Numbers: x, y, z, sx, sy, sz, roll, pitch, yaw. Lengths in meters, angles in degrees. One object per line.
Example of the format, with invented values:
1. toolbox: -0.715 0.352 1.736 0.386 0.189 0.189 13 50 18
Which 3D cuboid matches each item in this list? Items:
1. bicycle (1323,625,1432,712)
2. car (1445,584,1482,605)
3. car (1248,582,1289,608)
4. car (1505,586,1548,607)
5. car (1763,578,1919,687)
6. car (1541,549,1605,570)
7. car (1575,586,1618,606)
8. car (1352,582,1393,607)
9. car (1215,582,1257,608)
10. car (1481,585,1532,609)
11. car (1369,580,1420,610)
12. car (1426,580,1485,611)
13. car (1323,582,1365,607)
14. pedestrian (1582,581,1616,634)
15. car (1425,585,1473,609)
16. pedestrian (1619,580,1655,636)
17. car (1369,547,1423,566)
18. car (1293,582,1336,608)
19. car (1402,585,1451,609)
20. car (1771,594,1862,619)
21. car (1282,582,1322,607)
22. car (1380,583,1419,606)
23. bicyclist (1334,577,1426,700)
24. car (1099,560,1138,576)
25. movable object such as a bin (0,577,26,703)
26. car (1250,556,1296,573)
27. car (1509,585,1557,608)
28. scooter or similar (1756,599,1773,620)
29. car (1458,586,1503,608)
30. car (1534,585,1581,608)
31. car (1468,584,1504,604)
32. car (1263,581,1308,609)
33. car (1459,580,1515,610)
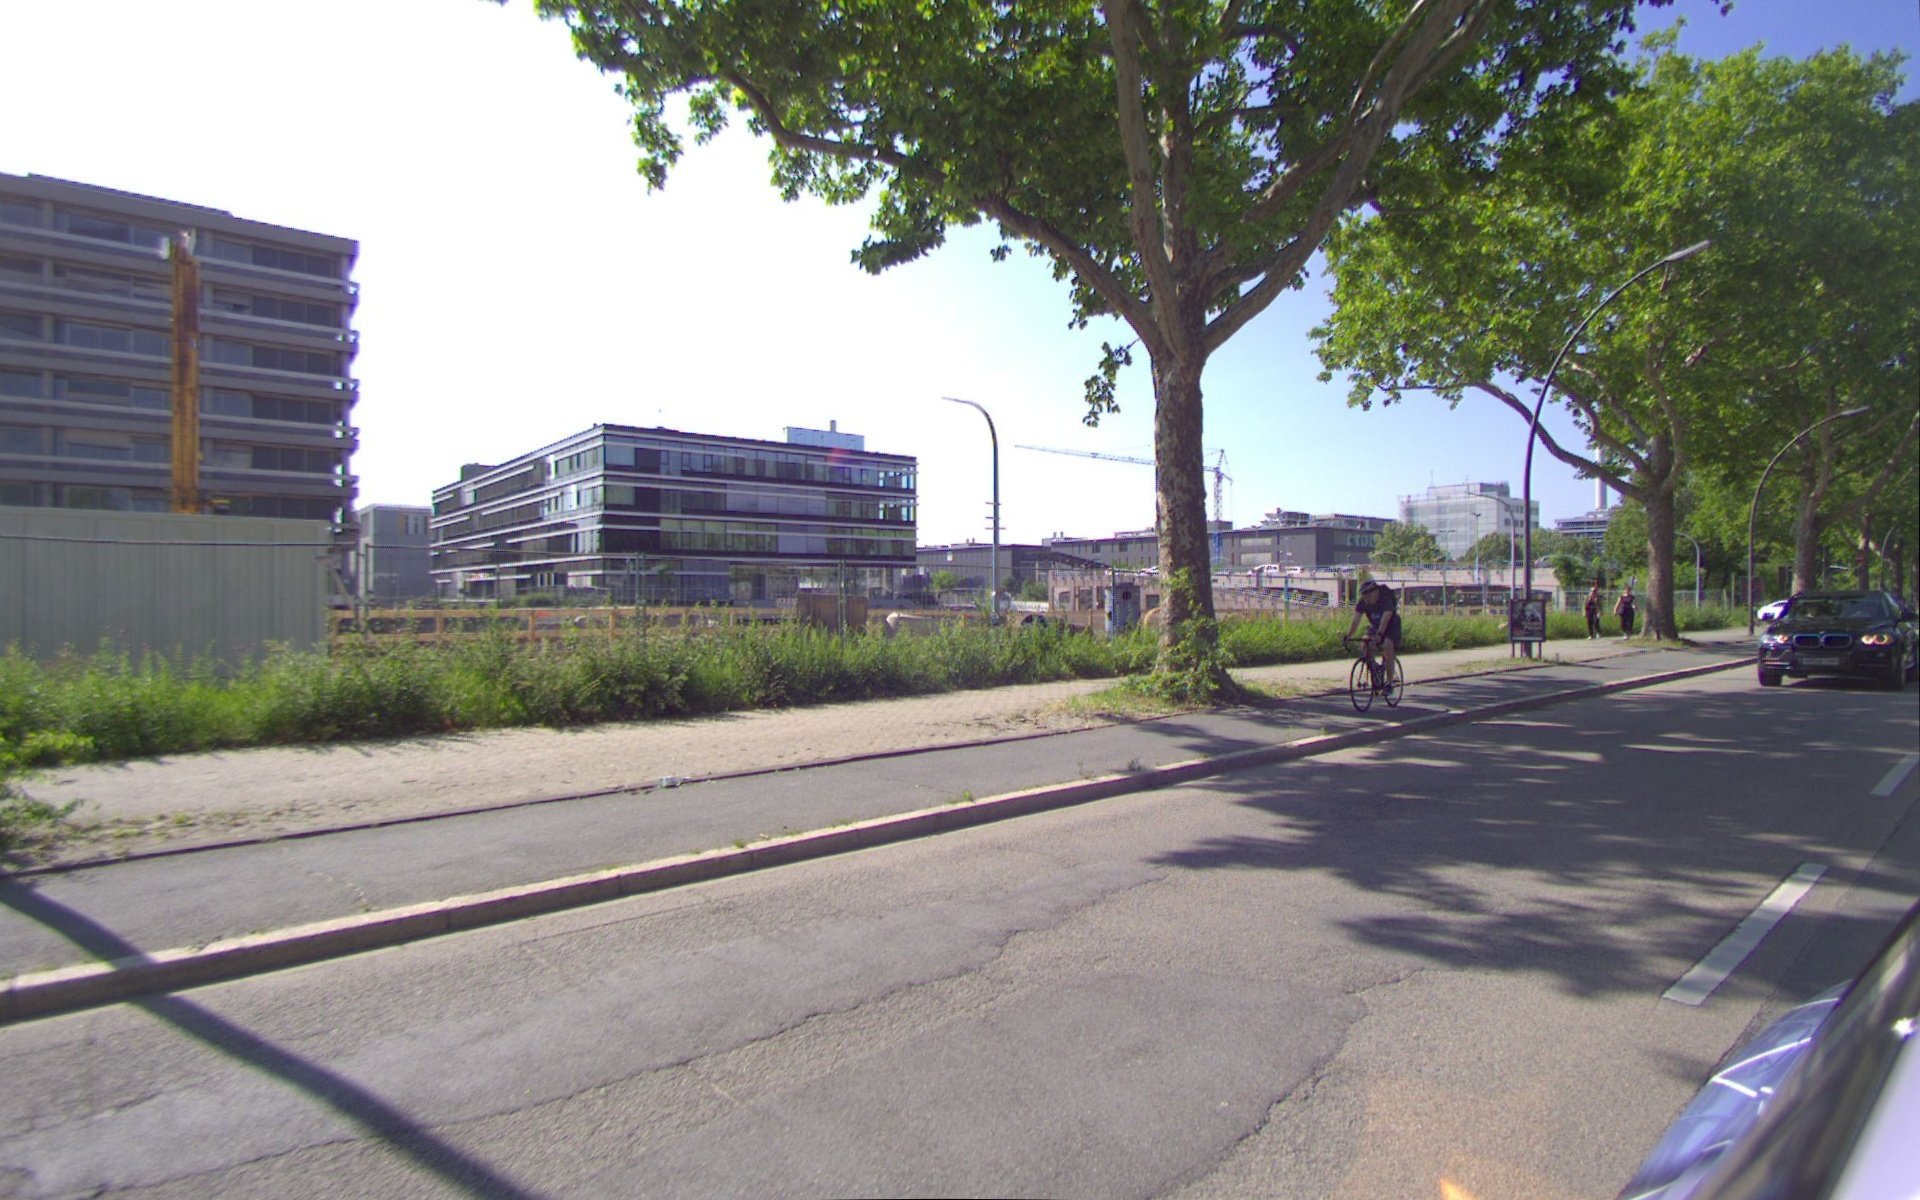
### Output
1. bicycle: 5.465 0.858 13.193 1.751 0.992 0.598 0 2 -43
2. car: 67.568 -0.778 135.810 1.779 2.773 3.990 0 -1 -43
3. car: 34.145 -0.564 111.906 1.779 2.773 3.990 0 -1 -43
4. car: 65.675 -0.419 117.427 1.779 2.352 3.990 0 -1 -43
5. car: 16.233 0.535 18.400 4.081 1.752 1.921 0 -1 -43
6. car: 48.465 -3.168 80.092 1.779 1.529 3.990 0 0 -43
7. car: 74.341 -0.433 118.214 1.779 2.352 3.990 0 -1 -43
8. car: 47.782 -0.618 117.318 1.779 2.773 3.990 0 -1 -43
9. car: 29.303 -0.525 107.377 1.779 2.773 3.990 0 -1 -43
10. car: 53.558 -0.267 99.192 1.779 2.352 3.990 0 -1 -43
11. car: 40.726 -0.434 94.838 1.779 2.773 3.990 0 -1 -43
12. car: 44.356 -0.385 90.622 1.779 2.773 4.367 0 -1 -43
13. car: 42.772 -0.578 112.701 1.779 2.773 3.990 0 -1 -43
14. pedestrian: 20.938 0.255 33.145 0.943 1.705 0.696 0 -1 -42
15. car: 49.799 -0.295 103.120 1.779 2.352 3.990 0 -1 -43
16. pedestrian: 21.540 0.244 32.204 1.048 1.746 0.710 0 -1 -42
17. car: 37.984 -3.774 88.171 1.779 1.529 3.990 0 0 -43
18. car: 37.826 -0.538 108.076 1.779 2.773 3.990 0 -1 -43
19. car: 45.794 -0.263 99.408 1.779 2.352 3.990 0 -1 -43
20. car: 50.308 0.383 59.558 1.861 1.426 4.000 0 0 -1
21. car: 39.331 -0.604 116.416 1.779 2.773 3.990 0 -1 -43
22. car: 52.875 -0.656 121.751 1.779 2.773 3.990 0 -1 -43
23. bicyclist: 5.477 0.470 13.181 1.194 1.508 0.599 0 2 -42
24. car: 17.421 -3.509 111.390 1.779 1.529 3.990 0 0 -43
25. movable object such as a bin: -45.711 1.726 40.058 11.558 5.242 6.753 -1 0 2
26. car: 30.935 -3.442 99.939 1.779 1.529 3.990 0 0 -43
27. car: 59.243 -0.315 104.696 1.779 2.352 3.990 0 -1 -43
28. scooter or similar: 42.286 0.494 53.201 1.108 1.136 0.482 0 -1 -41
29. car: 55.789 -0.342 108.541 1.779 2.352 3.990 0 -1 -43
30. car: 64.394 -0.353 109.093 1.779 2.352 3.990 0 -1 -43
31. car: 72.869 -0.817 140.252 1.779 2.773 3.990 0 -1 -43
32. car: 33.079 -0.494 103.013 1.779 2.773 3.990 0 -1 -43
33. car: 49.541 -0.425 95.192 1.779 2.773 4.367 0 -1 -43
